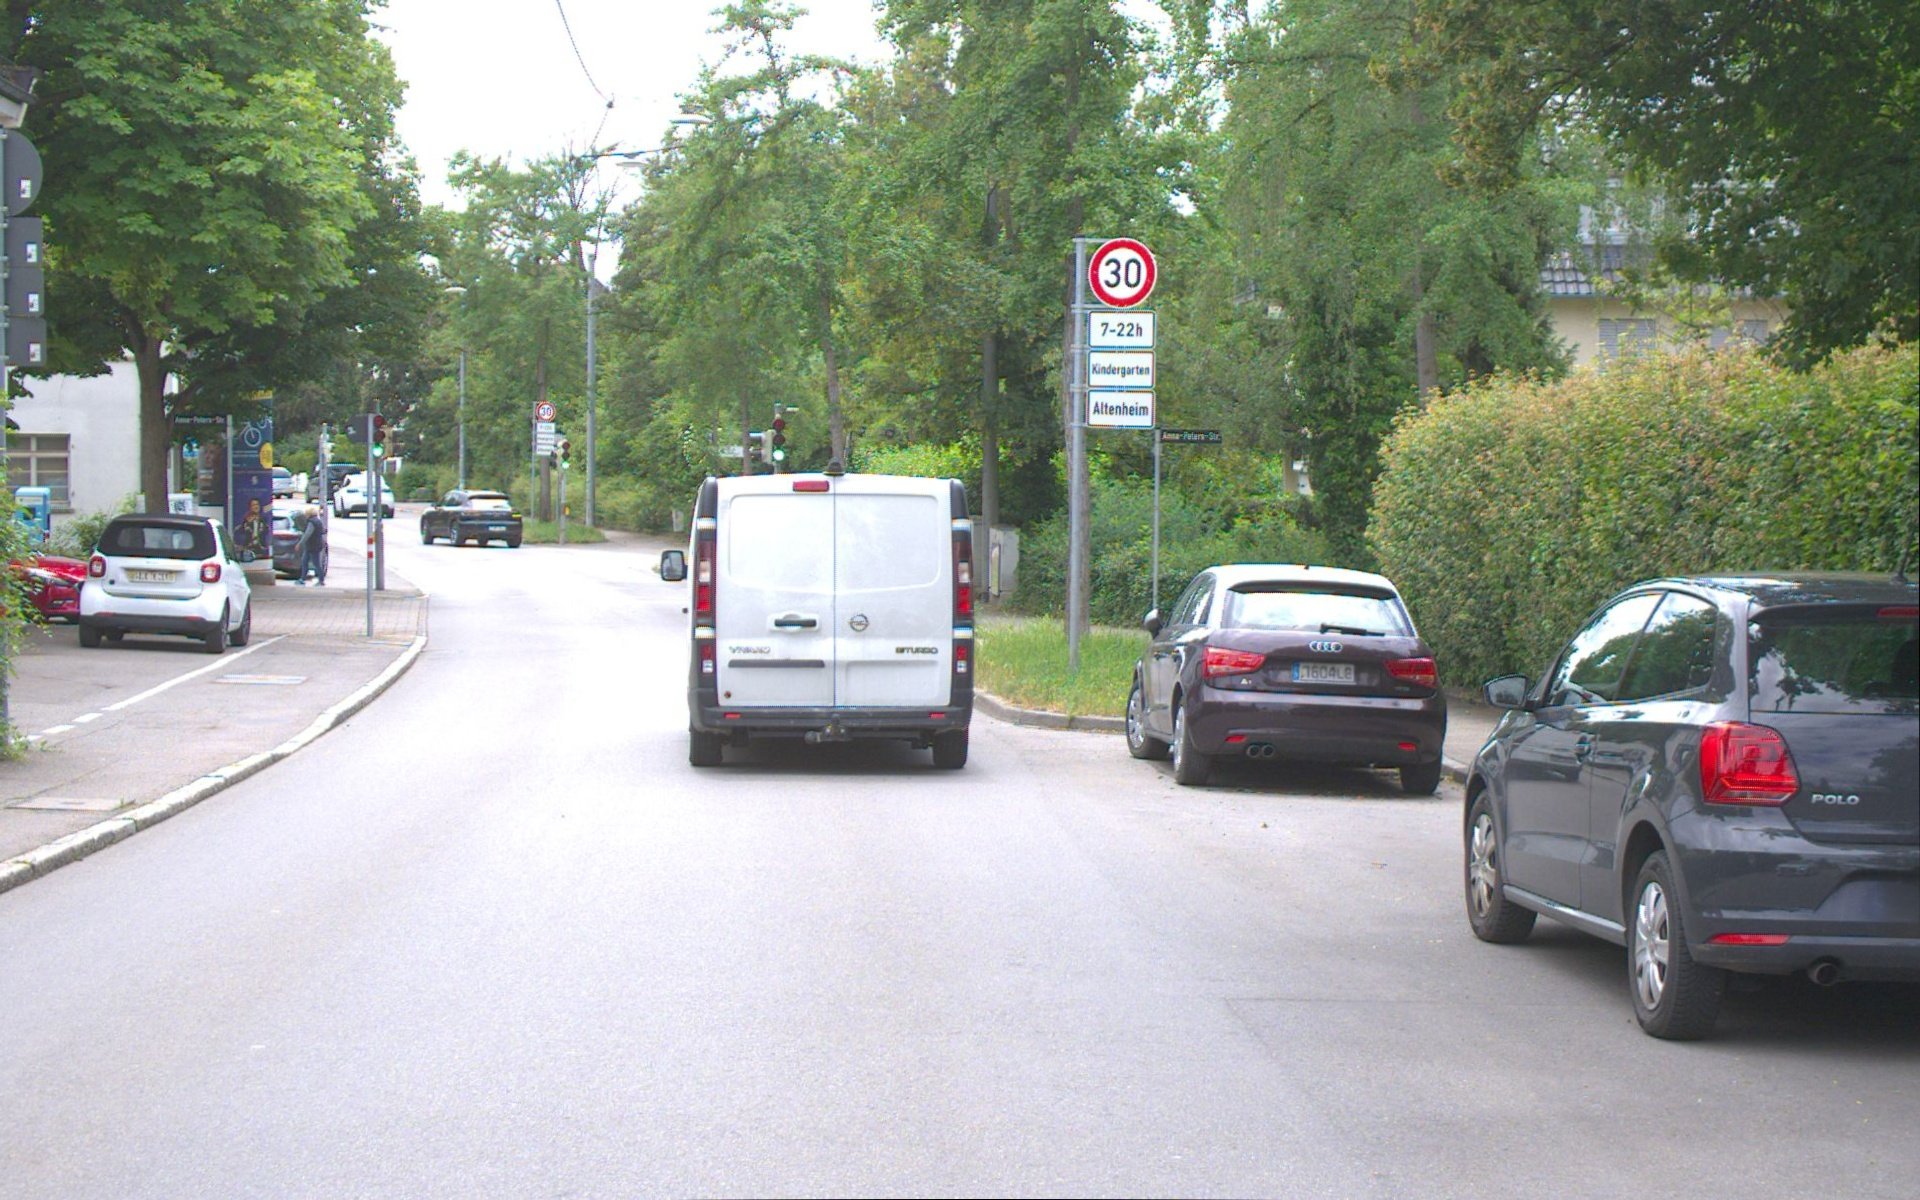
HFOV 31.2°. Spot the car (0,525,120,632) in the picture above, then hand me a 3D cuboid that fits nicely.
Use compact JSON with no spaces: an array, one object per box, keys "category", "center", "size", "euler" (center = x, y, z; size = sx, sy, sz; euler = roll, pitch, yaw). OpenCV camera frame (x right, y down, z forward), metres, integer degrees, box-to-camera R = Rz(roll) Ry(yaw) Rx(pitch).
[{"category":"car","center":[-14.824,-0.360,51.126],"size":[4.224,1.427,1.815],"euler":[1,4,21]}]

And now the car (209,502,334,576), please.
[{"category":"car","center":[-14.444,-1.287,72.291],"size":[1.779,1.436,4.526],"euler":[2,1,-2]}]

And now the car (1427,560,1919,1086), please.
[{"category":"car","center":[2.844,0.631,11.816],"size":[1.709,1.482,3.791],"euler":[1,1,-4]}]

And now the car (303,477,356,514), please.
[{"category":"car","center":[-29.199,-4.850,159.167],"size":[1.893,1.605,4.502],"euler":[1,2,-17]}]

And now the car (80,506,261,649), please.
[{"category":"car","center":[-9.201,-0.290,40.239],"size":[1.588,1.533,2.924],"euler":[3,1,-4]}]

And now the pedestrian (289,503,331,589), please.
[{"category":"pedestrian","center":[-12.454,-1.034,65.857],"size":[0.697,1.610,0.715],"euler":[1,2,-5]}]

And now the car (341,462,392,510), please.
[{"category":"car","center":[-22.427,-4.306,129.813],"size":[1.824,1.722,4.001],"euler":[1,2,-10]}]

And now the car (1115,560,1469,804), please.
[{"category":"car","center":[2.133,0.482,23.046],"size":[1.709,1.408,3.791],"euler":[2,1,-4]}]

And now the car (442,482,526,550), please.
[{"category":"car","center":[-13.639,-2.424,98.330],"size":[1.896,1.853,4.406],"euler":[1,2,-14]}]

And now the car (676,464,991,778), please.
[{"category":"car","center":[-0.983,0.068,24.020],"size":[1.929,1.957,4.403],"euler":[1,2,-5]}]
